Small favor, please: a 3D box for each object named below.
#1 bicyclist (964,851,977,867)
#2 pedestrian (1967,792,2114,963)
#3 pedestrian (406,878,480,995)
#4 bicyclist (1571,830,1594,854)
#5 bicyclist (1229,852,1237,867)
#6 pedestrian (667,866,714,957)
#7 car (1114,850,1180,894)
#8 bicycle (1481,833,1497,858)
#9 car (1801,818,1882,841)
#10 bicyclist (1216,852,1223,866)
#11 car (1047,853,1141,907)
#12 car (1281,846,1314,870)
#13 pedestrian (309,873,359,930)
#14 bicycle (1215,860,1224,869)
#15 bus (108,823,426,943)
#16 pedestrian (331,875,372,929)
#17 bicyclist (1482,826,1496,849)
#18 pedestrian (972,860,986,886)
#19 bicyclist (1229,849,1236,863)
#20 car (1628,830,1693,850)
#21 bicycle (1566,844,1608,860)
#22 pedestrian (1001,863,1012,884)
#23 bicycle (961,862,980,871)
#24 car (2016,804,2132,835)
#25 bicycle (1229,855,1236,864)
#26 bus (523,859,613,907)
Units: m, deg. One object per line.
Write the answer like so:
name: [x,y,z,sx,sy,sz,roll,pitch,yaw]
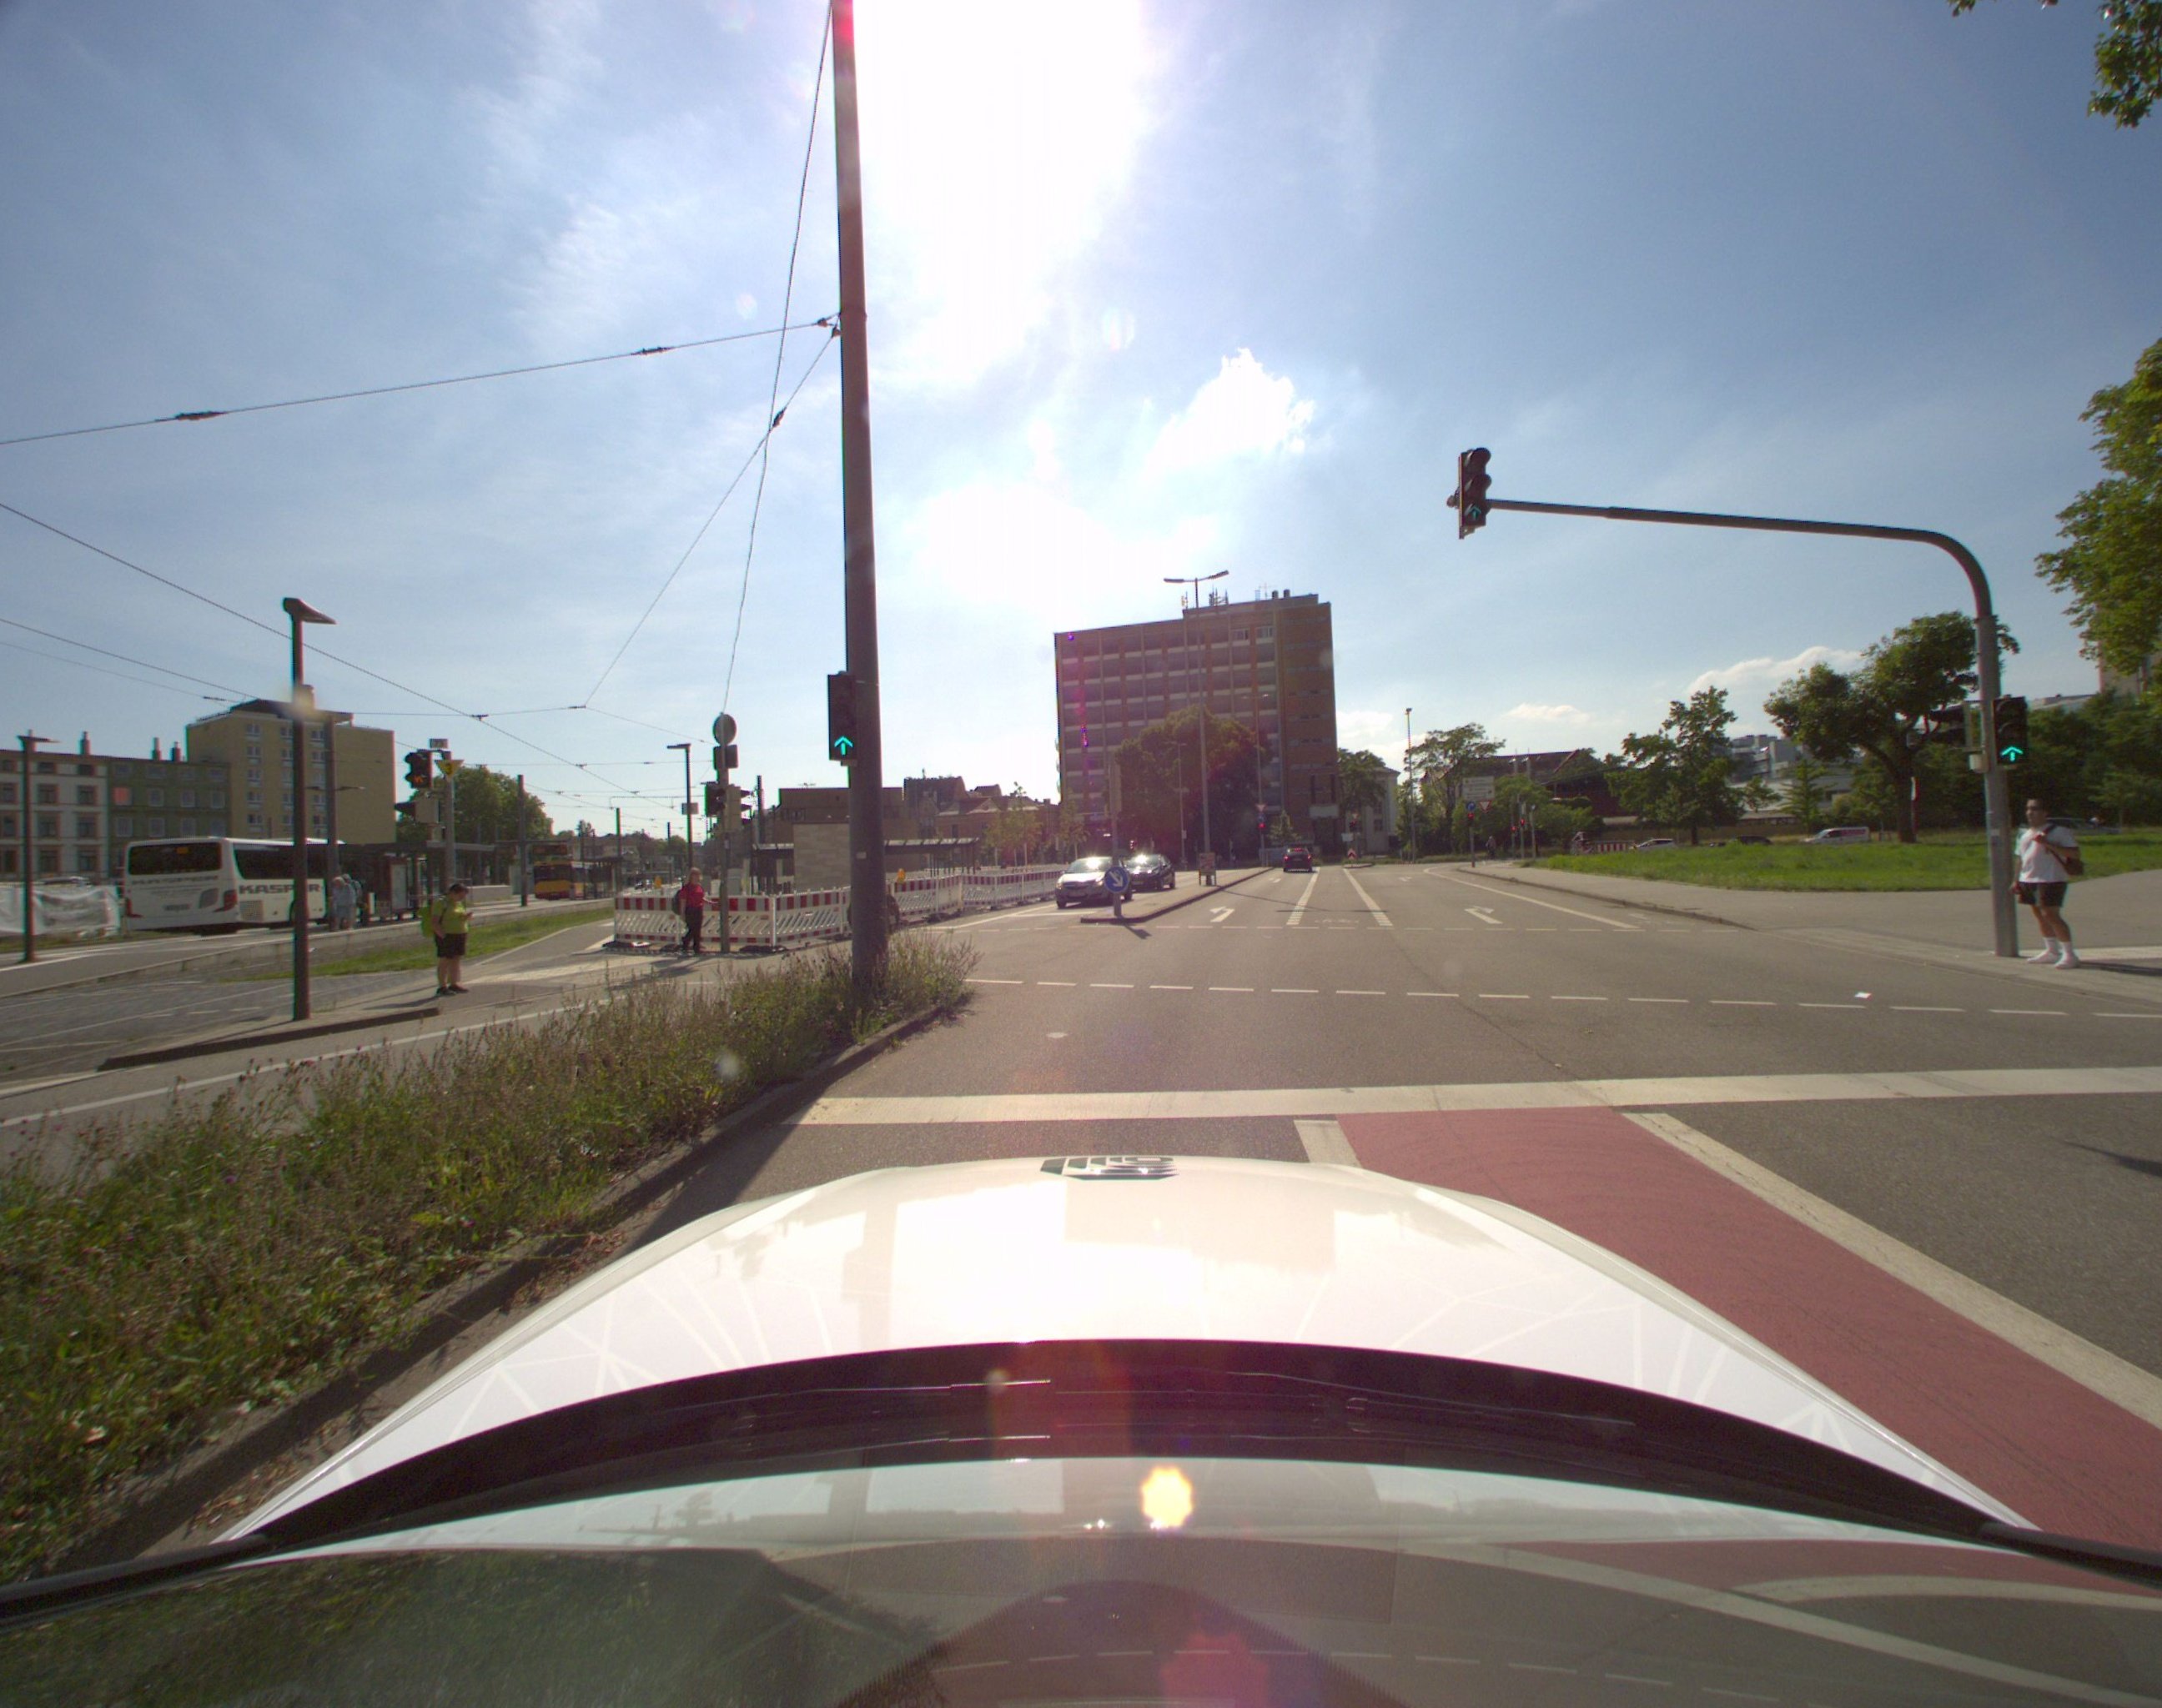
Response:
bicyclist: [-10.787,0.500,79.531,1.154,1.474,0.567,-3,0,29]
pedestrian: [11.194,0.265,9.531,0.650,1.874,0.796,-4,0,-2]
pedestrian: [-8.665,1.102,11.072,0.666,1.543,0.422,0,1,-12]
bicyclist: [31.140,-0.711,50.545,0.497,1.470,1.133,0,-1,-26]
bicyclist: [16.371,0.589,87.761,0.614,1.582,1.017,-5,-1,12]
pedestrian: [-7.217,1.046,15.064,0.347,1.616,0.689,-3,0,18]
car: [2.701,0.668,32.404,1.653,1.451,3.835,-6,-1,17]
bicycle: [30.095,-0.611,60.042,0.673,1.765,1.819,-3,0,17]
car: [60.274,-1.946,64.600,4.276,1.569,1.919,-3,0,16]
bicyclist: [15.365,0.561,90.514,0.535,1.417,1.034,-4,-2,15]
car: [0.492,0.758,25.513,1.779,1.412,4.018,-4,-1,17]
car: [13.395,0.218,50.191,1.766,1.443,3.835,-1,0,17]
pedestrian: [-22.078,1.380,24.070,0.789,1.615,0.662,-2,0,0]
bicycle: [15.422,1.164,90.748,0.699,0.977,2.039,-3,0,15]
bus: [-29.393,0.947,30.652,2.861,3.489,12.582,-3,0,-18]
pedestrian: [-22.508,1.471,25.139,0.684,1.615,0.587,-2,0,4]
bicyclist: [29.982,-1.212,59.822,0.673,1.655,0.923,-3,0,17]
pedestrian: [-7.038,1.317,56.268,0.733,1.752,1.111,-3,-3,1]
bicyclist: [16.337,0.189,87.769,0.614,1.443,0.924,-5,-1,12]
car: [48.820,-1.140,68.718,3.956,1.464,2.009,-3,-1,17]
bicycle: [31.277,-0.106,50.397,0.676,0.916,2.150,-3,0,-25]
pedestrian: [-5.306,1.387,58.037,0.628,1.491,0.617,-3,0,1]
bicycle: [-10.768,1.181,79.524,1.872,0.792,0.564,-3,1,29]
car: [57.926,-1.985,47.602,3.955,1.508,1.760,-3,0,17]
bicycle: [16.371,0.589,87.761,0.614,0.961,1.975,-5,-1,12]
bus: [-40.677,2.196,65.112,2.861,3.281,12.582,-3,0,-18]
